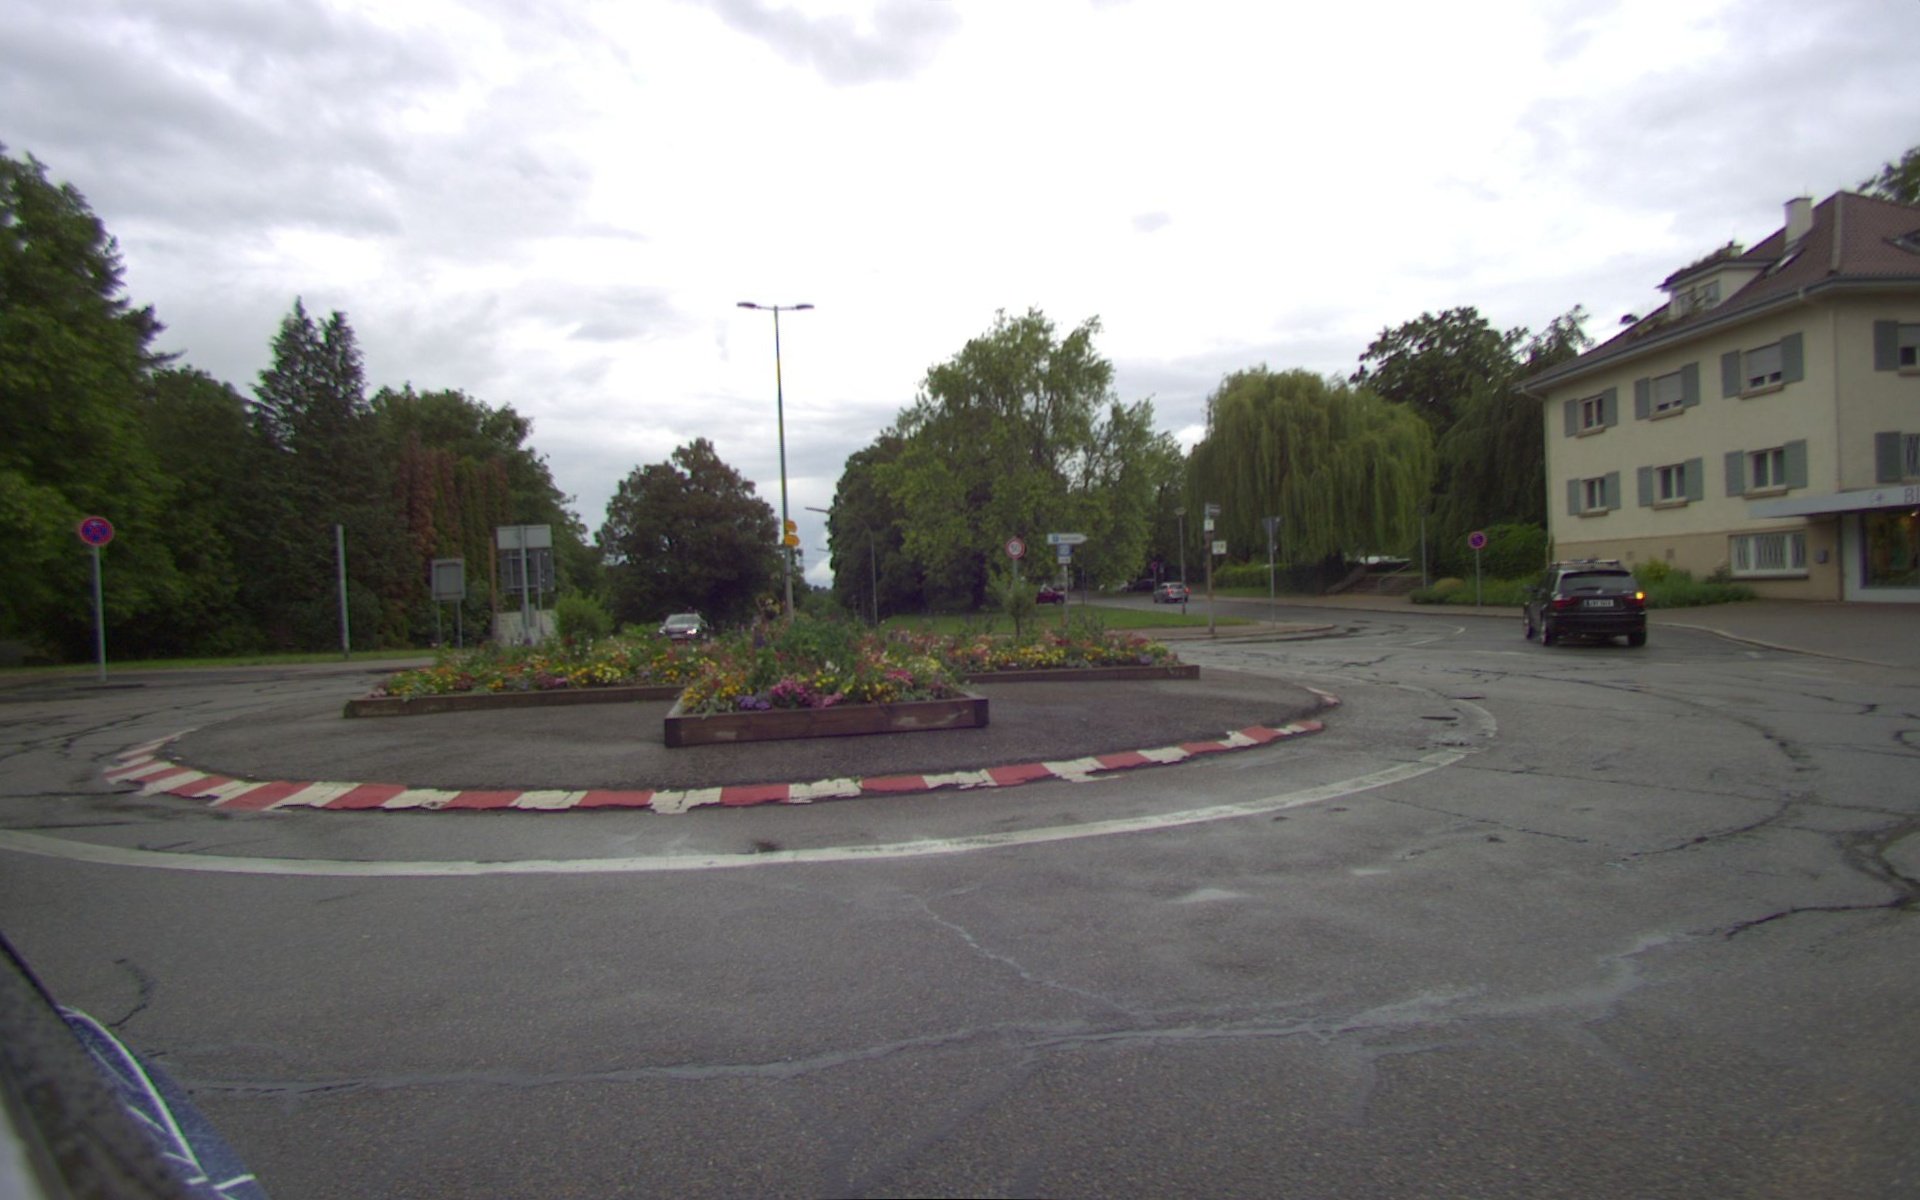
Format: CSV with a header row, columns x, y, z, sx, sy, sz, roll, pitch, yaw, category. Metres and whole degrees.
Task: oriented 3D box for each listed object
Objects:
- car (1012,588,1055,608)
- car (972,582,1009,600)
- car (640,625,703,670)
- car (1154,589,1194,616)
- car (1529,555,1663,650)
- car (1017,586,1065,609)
x,y,z,sx,sy,sz,roll,pitch,yaw,category
6.238,-0.188,86.397,3.587,1.606,1.805,-1,2,2,car
3.008,-0.892,99.658,3.587,1.606,1.805,-1,2,2,car
-11.494,1.864,40.515,1.689,1.430,4.005,-1,2,-5,car
15.664,0.138,74.289,1.971,1.754,4.145,-1,2,-1,car
13.394,0.062,21.568,1.759,1.815,4.212,-1,-1,24,car
6.278,-0.197,78.842,3.587,1.606,1.805,-1,2,2,car
